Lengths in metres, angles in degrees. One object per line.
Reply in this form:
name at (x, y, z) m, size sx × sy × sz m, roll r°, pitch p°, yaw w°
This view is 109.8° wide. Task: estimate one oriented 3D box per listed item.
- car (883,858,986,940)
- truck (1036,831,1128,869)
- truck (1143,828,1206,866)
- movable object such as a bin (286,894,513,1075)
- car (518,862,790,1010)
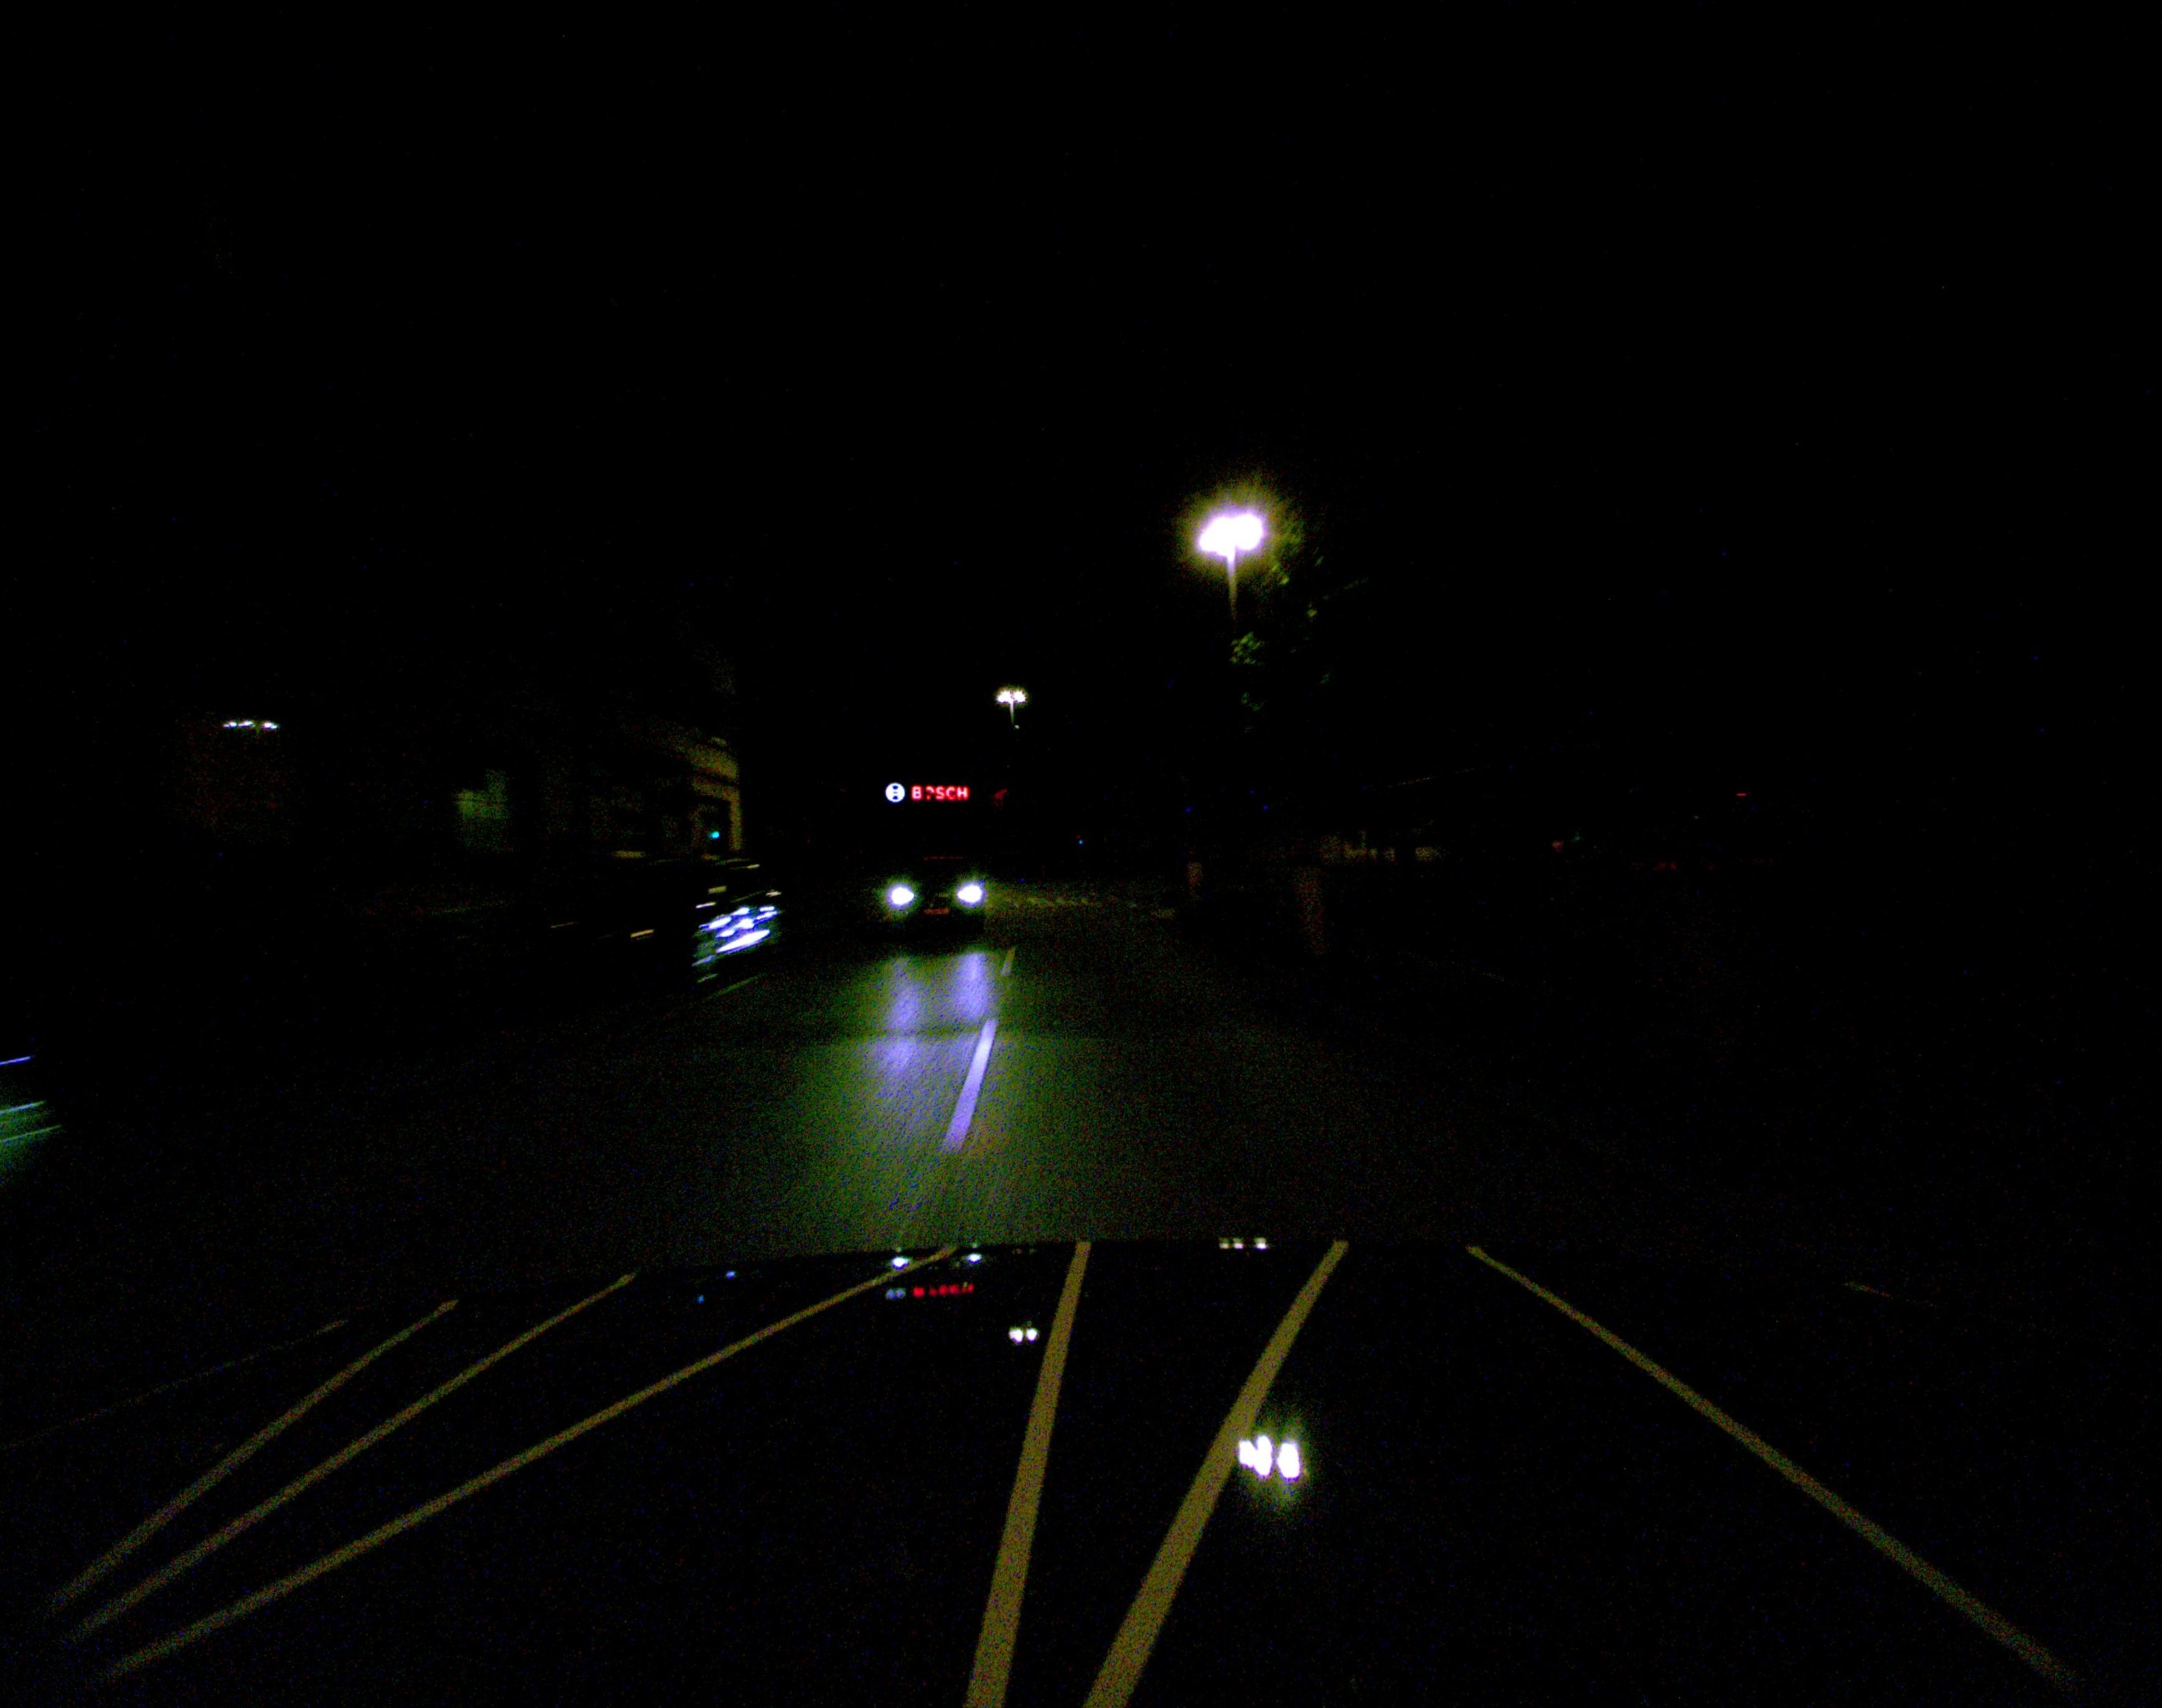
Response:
car at (-3.214, 0.909, 17.164) m, size 2.000 × 1.606 × 3.997 m, roll -1°, pitch 0°, yaw -9°
truck at (0.078, -0.400, 79.686) m, size 9.342 × 3.701 × 2.002 m, roll -1°, pitch 1°, yaw 13°
truck at (9.653, -0.698, 78.112) m, size 6.197 × 3.672 × 2.403 m, roll -1°, pitch 1°, yaw 10°
movable object such as a bin at (-6.155, 1.119, 6.984) m, size 0.940 × 1.423 × 1.338 m, roll 0°, pitch 0°, yaw -6°
car at (-5.807, 0.982, 11.038) m, size 1.749 × 1.673 × 4.256 m, roll 0°, pitch 0°, yaw -3°
